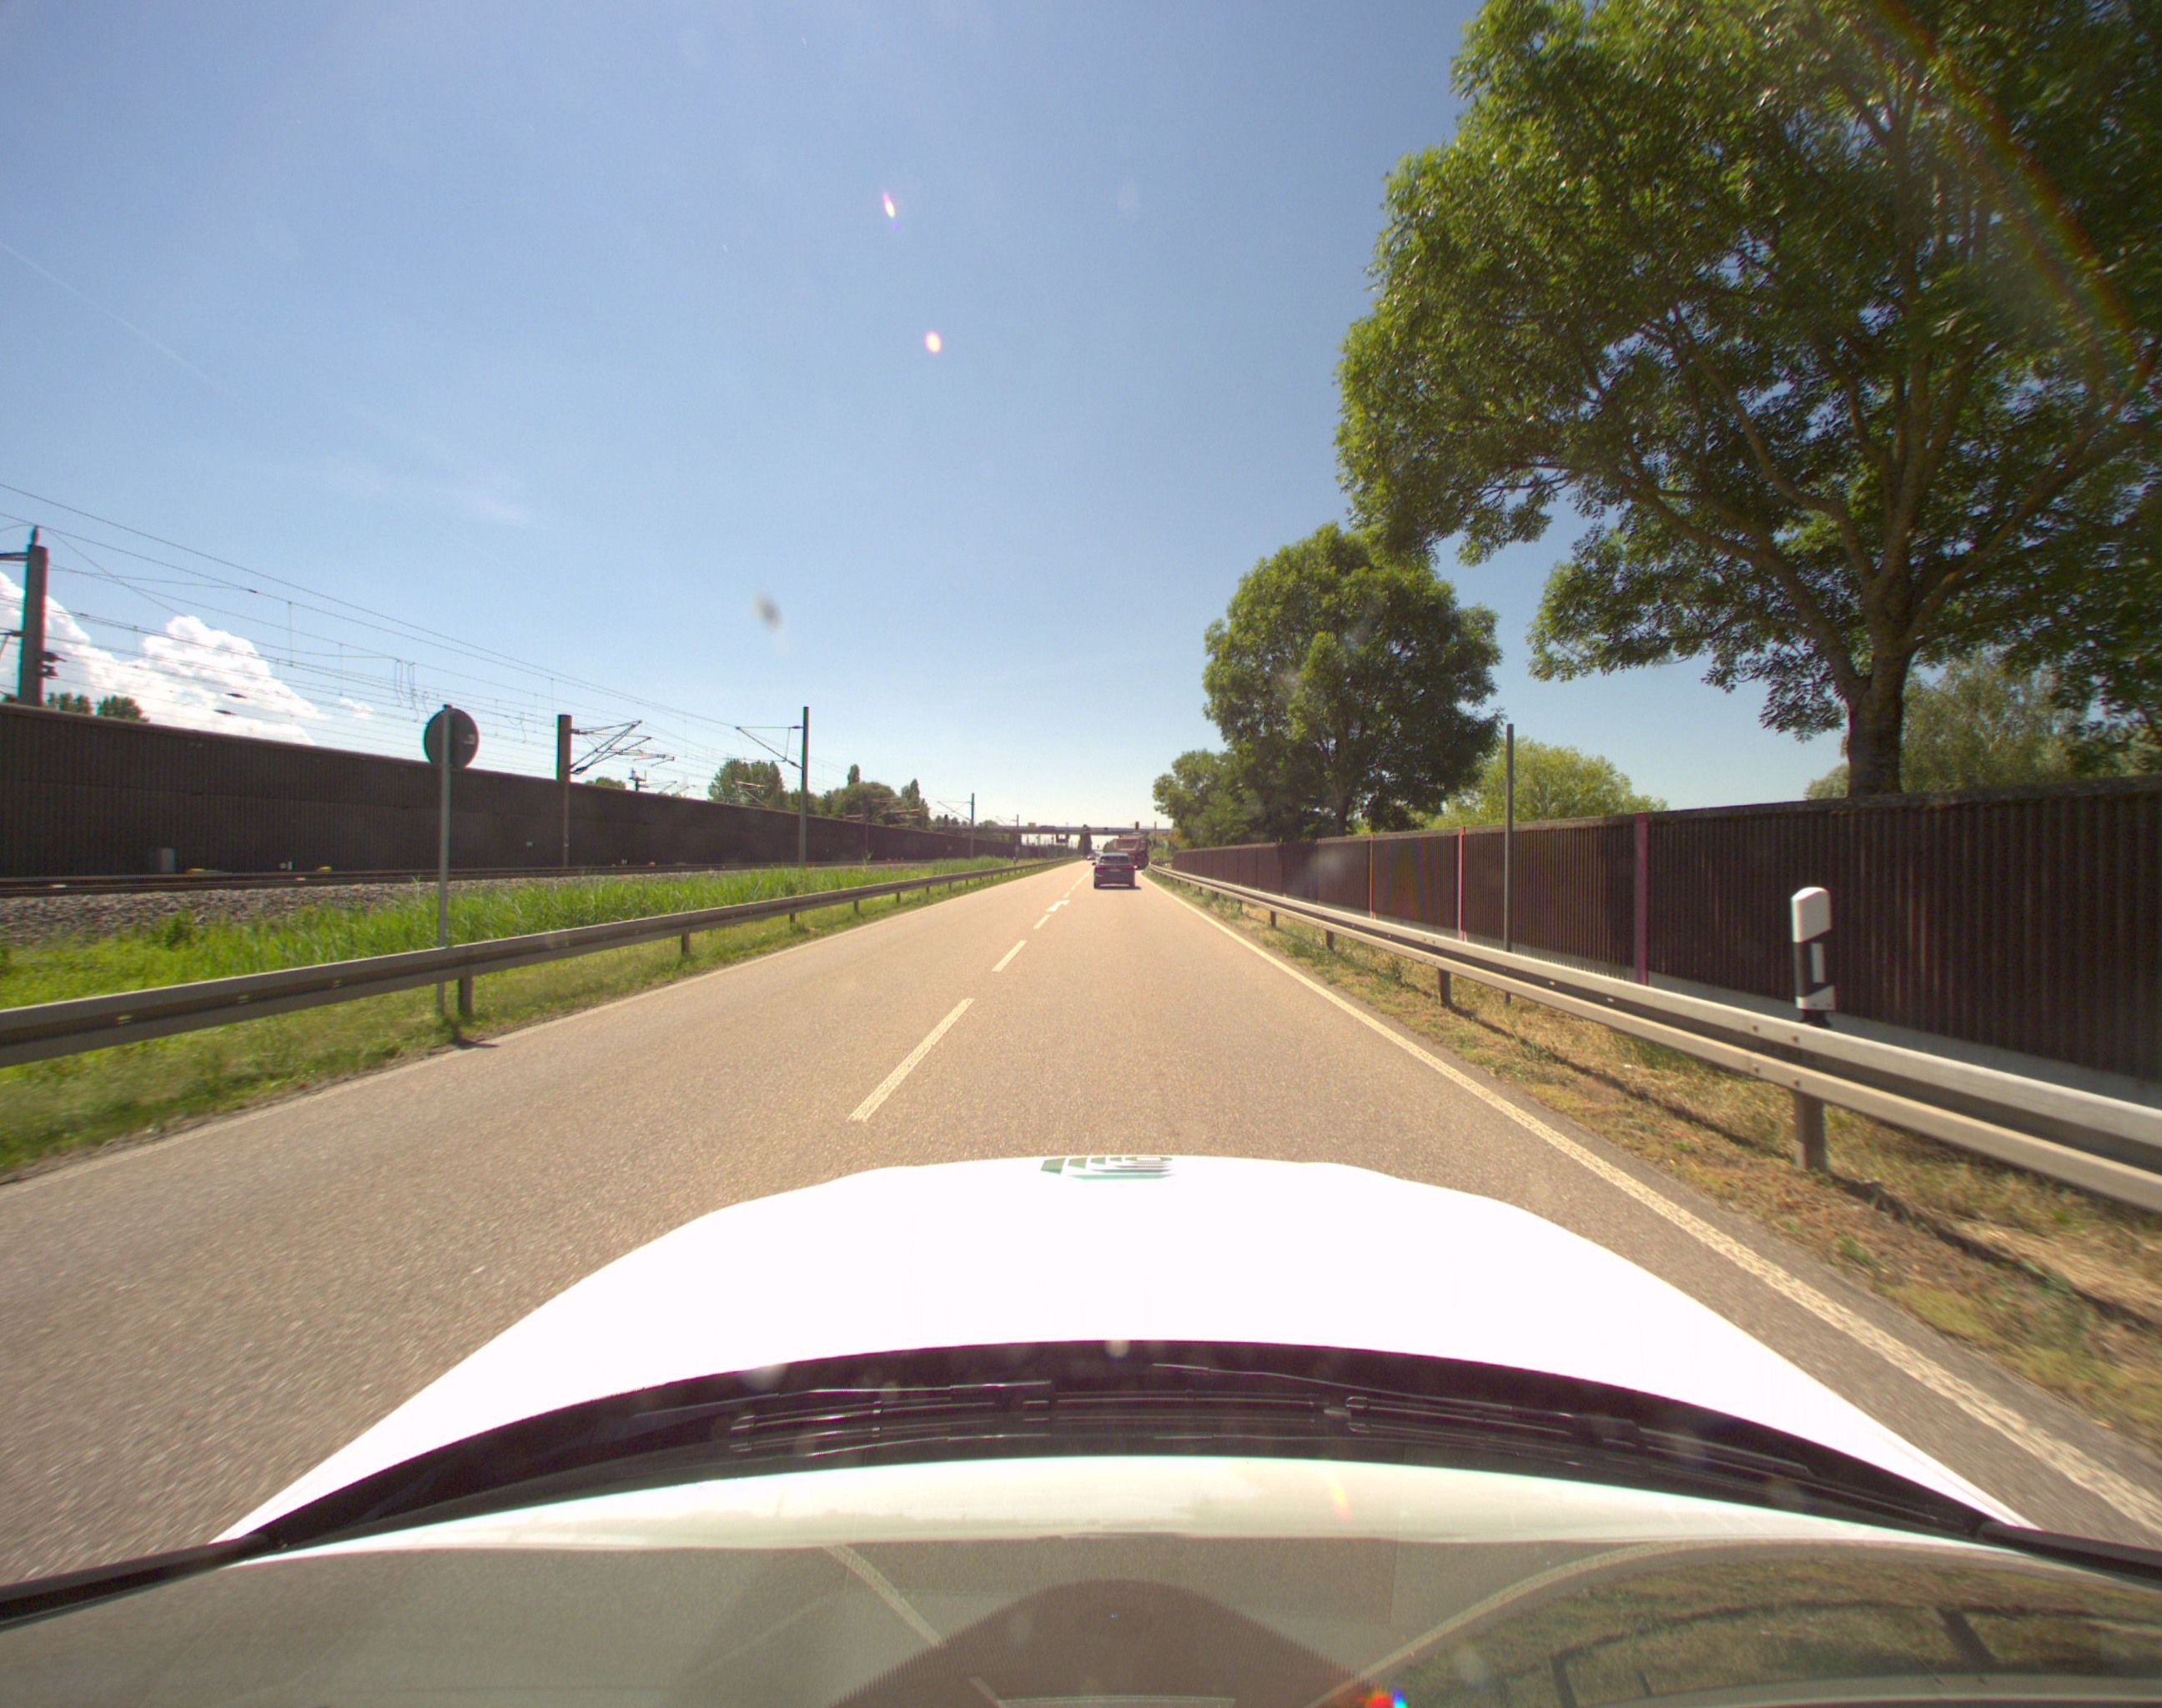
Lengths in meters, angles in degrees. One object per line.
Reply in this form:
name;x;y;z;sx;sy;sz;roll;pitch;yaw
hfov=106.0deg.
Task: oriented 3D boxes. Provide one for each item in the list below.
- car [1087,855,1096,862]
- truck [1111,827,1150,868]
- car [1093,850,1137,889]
car;2.419;1.025;180.480;1.859;1.485;4.886;0;0;-1
truck;5.138;-0.564;82.453;2.817;3.821;11.914;0;0;9
car;1.522;0.667;36.814;1.837;1.623;4.228;0;0;2
